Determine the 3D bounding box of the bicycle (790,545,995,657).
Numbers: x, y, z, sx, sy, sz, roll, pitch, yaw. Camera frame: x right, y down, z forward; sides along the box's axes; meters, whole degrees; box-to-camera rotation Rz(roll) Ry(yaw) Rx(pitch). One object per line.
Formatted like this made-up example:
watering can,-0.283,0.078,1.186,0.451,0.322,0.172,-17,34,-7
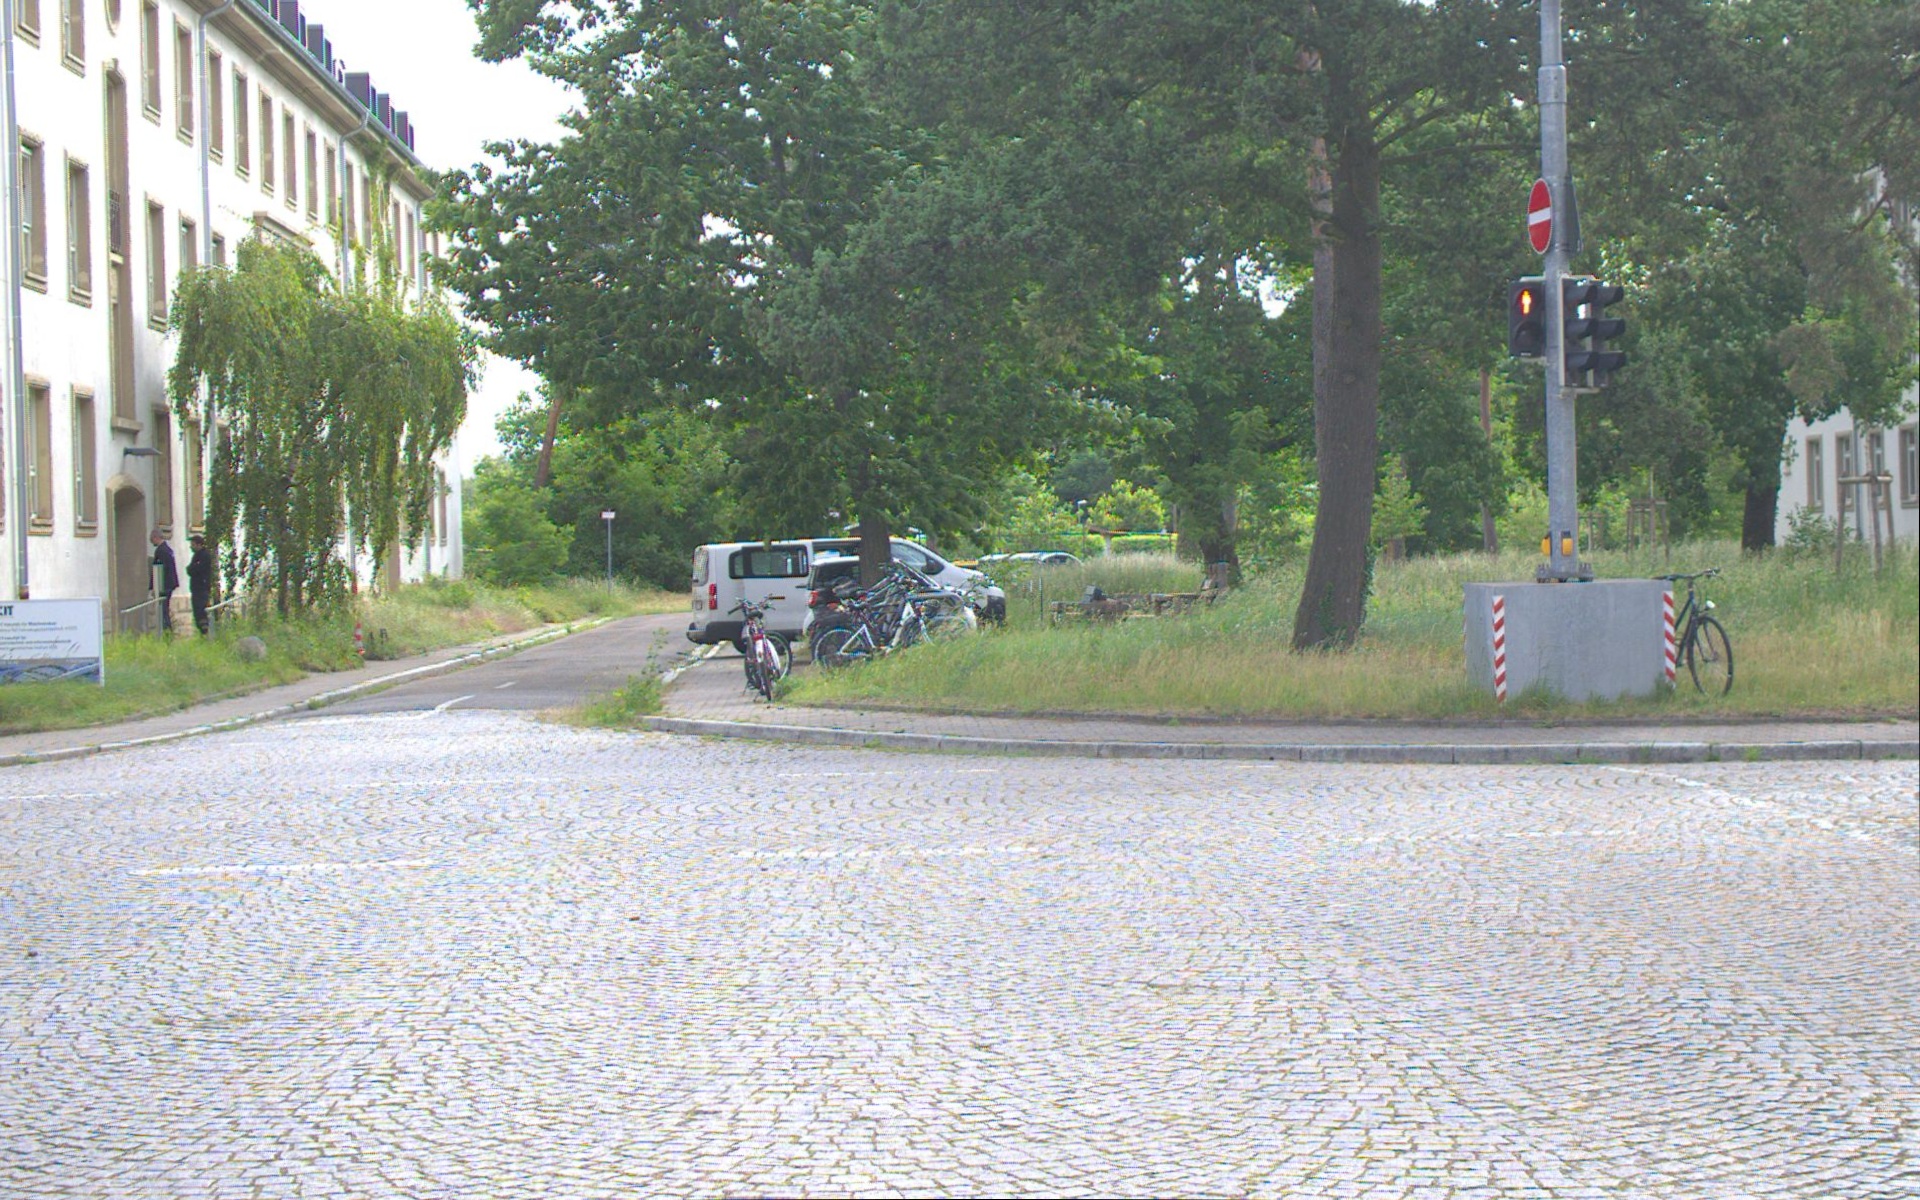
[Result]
bicycle,-0.880,0.005,44.280,2.567,1.367,0.951,-2,1,-3

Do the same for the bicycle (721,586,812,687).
bicycle,-2.021,0.369,36.062,0.900,0.993,1.979,-2,1,-3

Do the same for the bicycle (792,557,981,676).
bicycle,-0.849,0.182,39.477,2.113,1.302,0.874,-2,1,-2

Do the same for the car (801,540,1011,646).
car,-0.881,-0.117,54.089,3.224,1.615,1.938,0,0,-3

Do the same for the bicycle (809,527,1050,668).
bicycle,-0.376,-0.037,40.971,2.802,1.578,0.951,-2,1,-2

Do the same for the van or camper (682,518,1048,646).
van or camper,-1.610,-0.320,57.584,5.740,1.950,2.238,-2,1,-14

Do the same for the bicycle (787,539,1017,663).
bicycle,-0.687,0.001,40.092,2.619,1.362,0.874,-2,1,-2

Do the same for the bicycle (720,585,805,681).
bicycle,-2.179,0.353,38.151,0.727,0.993,1.979,-1,1,2

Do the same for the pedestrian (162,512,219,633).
pedestrian,-12.319,-0.436,55.039,0.865,1.925,0.837,0,0,-13

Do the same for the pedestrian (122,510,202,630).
pedestrian,-12.605,-0.475,54.369,1.194,1.863,1.550,0,0,-12

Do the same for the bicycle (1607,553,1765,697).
bicycle,5.803,0.179,27.576,0.644,1.059,1.834,-5,1,-5

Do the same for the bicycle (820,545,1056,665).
bicycle,-0.281,0.049,41.906,2.802,1.367,0.951,-2,1,-2

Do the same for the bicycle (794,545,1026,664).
bicycle,-0.629,0.047,42.430,2.802,1.367,0.951,-2,1,-2

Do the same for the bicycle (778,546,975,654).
bicycle,-1.124,-0.008,45.951,2.567,1.367,0.951,-2,1,-3

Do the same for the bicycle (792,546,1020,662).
bicycle,-0.694,0.040,43.322,2.802,1.367,0.951,-2,1,-2
